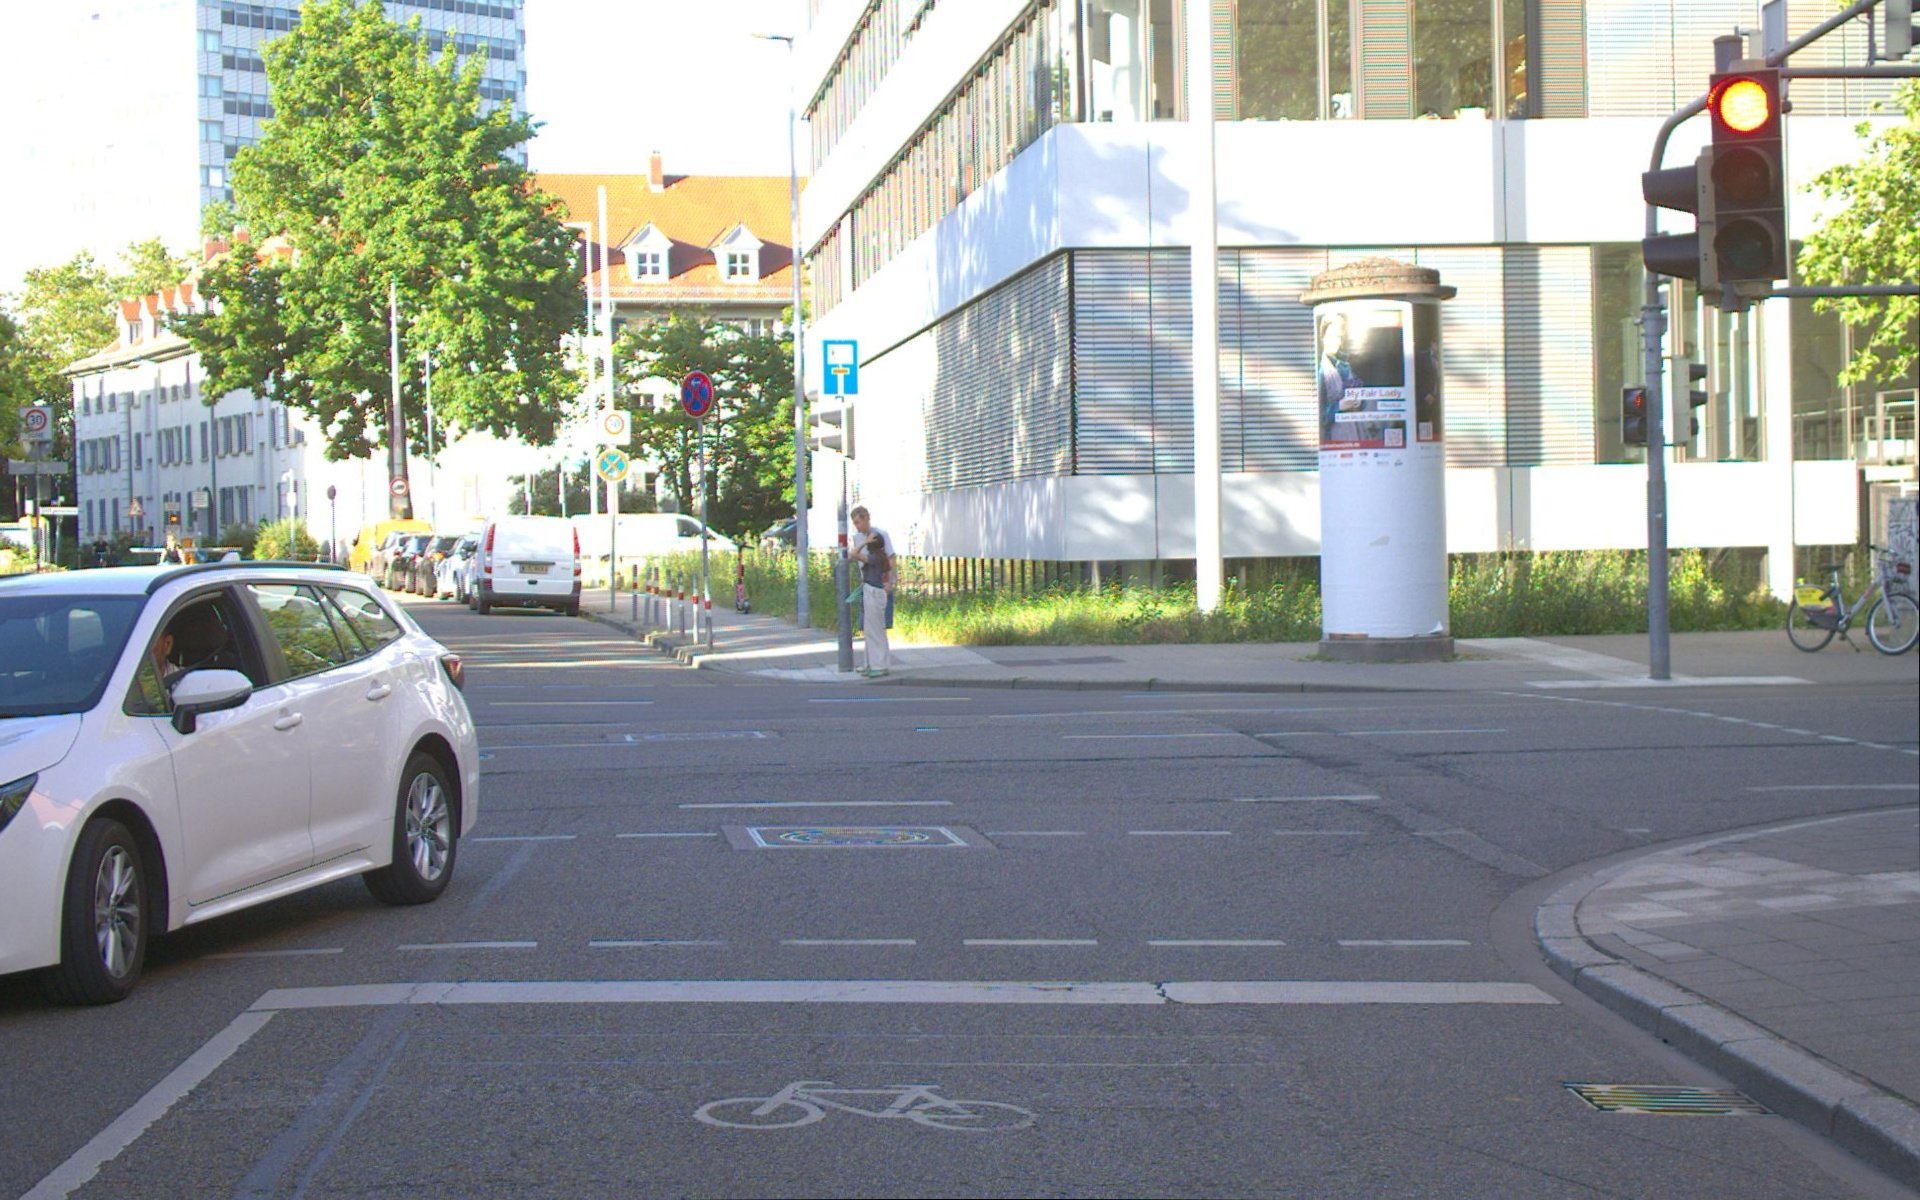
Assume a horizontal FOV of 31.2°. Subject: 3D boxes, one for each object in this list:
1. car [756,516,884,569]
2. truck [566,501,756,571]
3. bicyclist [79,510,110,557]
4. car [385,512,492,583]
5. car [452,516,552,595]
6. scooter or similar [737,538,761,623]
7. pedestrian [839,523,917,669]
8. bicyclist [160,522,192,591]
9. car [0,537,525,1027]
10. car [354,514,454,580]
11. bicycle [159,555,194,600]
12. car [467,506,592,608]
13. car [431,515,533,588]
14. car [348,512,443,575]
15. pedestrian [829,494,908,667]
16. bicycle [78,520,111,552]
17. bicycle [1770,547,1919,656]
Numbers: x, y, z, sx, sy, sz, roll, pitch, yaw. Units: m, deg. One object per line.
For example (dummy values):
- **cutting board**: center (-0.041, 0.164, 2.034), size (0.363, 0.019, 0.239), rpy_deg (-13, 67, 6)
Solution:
- **car**: center (-4.251, -1.750, 104.245), size (3.554, 1.541, 1.559), rpy_deg (-1, 1, -19)
- **truck**: center (-8.966, -1.929, 103.057), size (5.336, 2.007, 2.001), rpy_deg (-1, 1, -19)
- **bicyclist**: center (-29.169, -2.240, 115.893), size (0.865, 1.510, 1.019), rpy_deg (-4, 1, -11)
- **car**: center (-13.003, -1.338, 85.568), size (1.888, 1.650, 4.417), rpy_deg (-1, 2, -19)
- **car**: center (-9.746, -0.975, 72.950), size (1.888, 1.550, 4.417), rpy_deg (-1, 2, -10)
- **scooter or similar**: center (-3.590, -0.335, 58.578), size (0.330, 1.419, 1.335), rpy_deg (1, 0, -6)
- **pedestrian**: center (-0.888, -0.048, 37.211), size (0.559, 1.535, 0.677), rpy_deg (-5, 2, -18)
- **bicyclist**: center (-17.714, -0.982, 77.688), size (0.615, 1.527, 0.903), rpy_deg (-2, 1, -9)
- **car**: center (-3.413, 0.576, 12.894), size (1.888, 1.471, 4.542), rpy_deg (-3, 1, 15)
- **car**: center (-14.694, -1.420, 90.699), size (1.888, 1.650, 4.417), rpy_deg (-1, 2, -19)
- **bicycle**: center (-17.704, -0.509, 77.684), size (0.615, 0.966, 1.842), rpy_deg (-2, 1, -9)
- **car**: center (-8.138, -0.848, 64.692), size (2.084, 1.789, 4.417), rpy_deg (-1, 2, -10)
- **car**: center (-10.920, -1.121, 78.320), size (1.888, 1.550, 4.417), rpy_deg (-1, 2, -13)
- **car**: center (-15.698, -1.580, 95.503), size (1.888, 1.650, 4.417), rpy_deg (-1, 2, -19)
- **pedestrian**: center (-1.004, -0.219, 37.814), size (0.560, 1.844, 0.677), rpy_deg (-3, 2, 16)
- **bicycle**: center (-29.172, -2.145, 115.878), size (0.865, 1.006, 2.415), rpy_deg (-4, 1, -11)
- **bicycle**: center (9.311, 0.001, 36.044), size (0.507, 1.045, 1.687), rpy_deg (-4, 5, -35)
